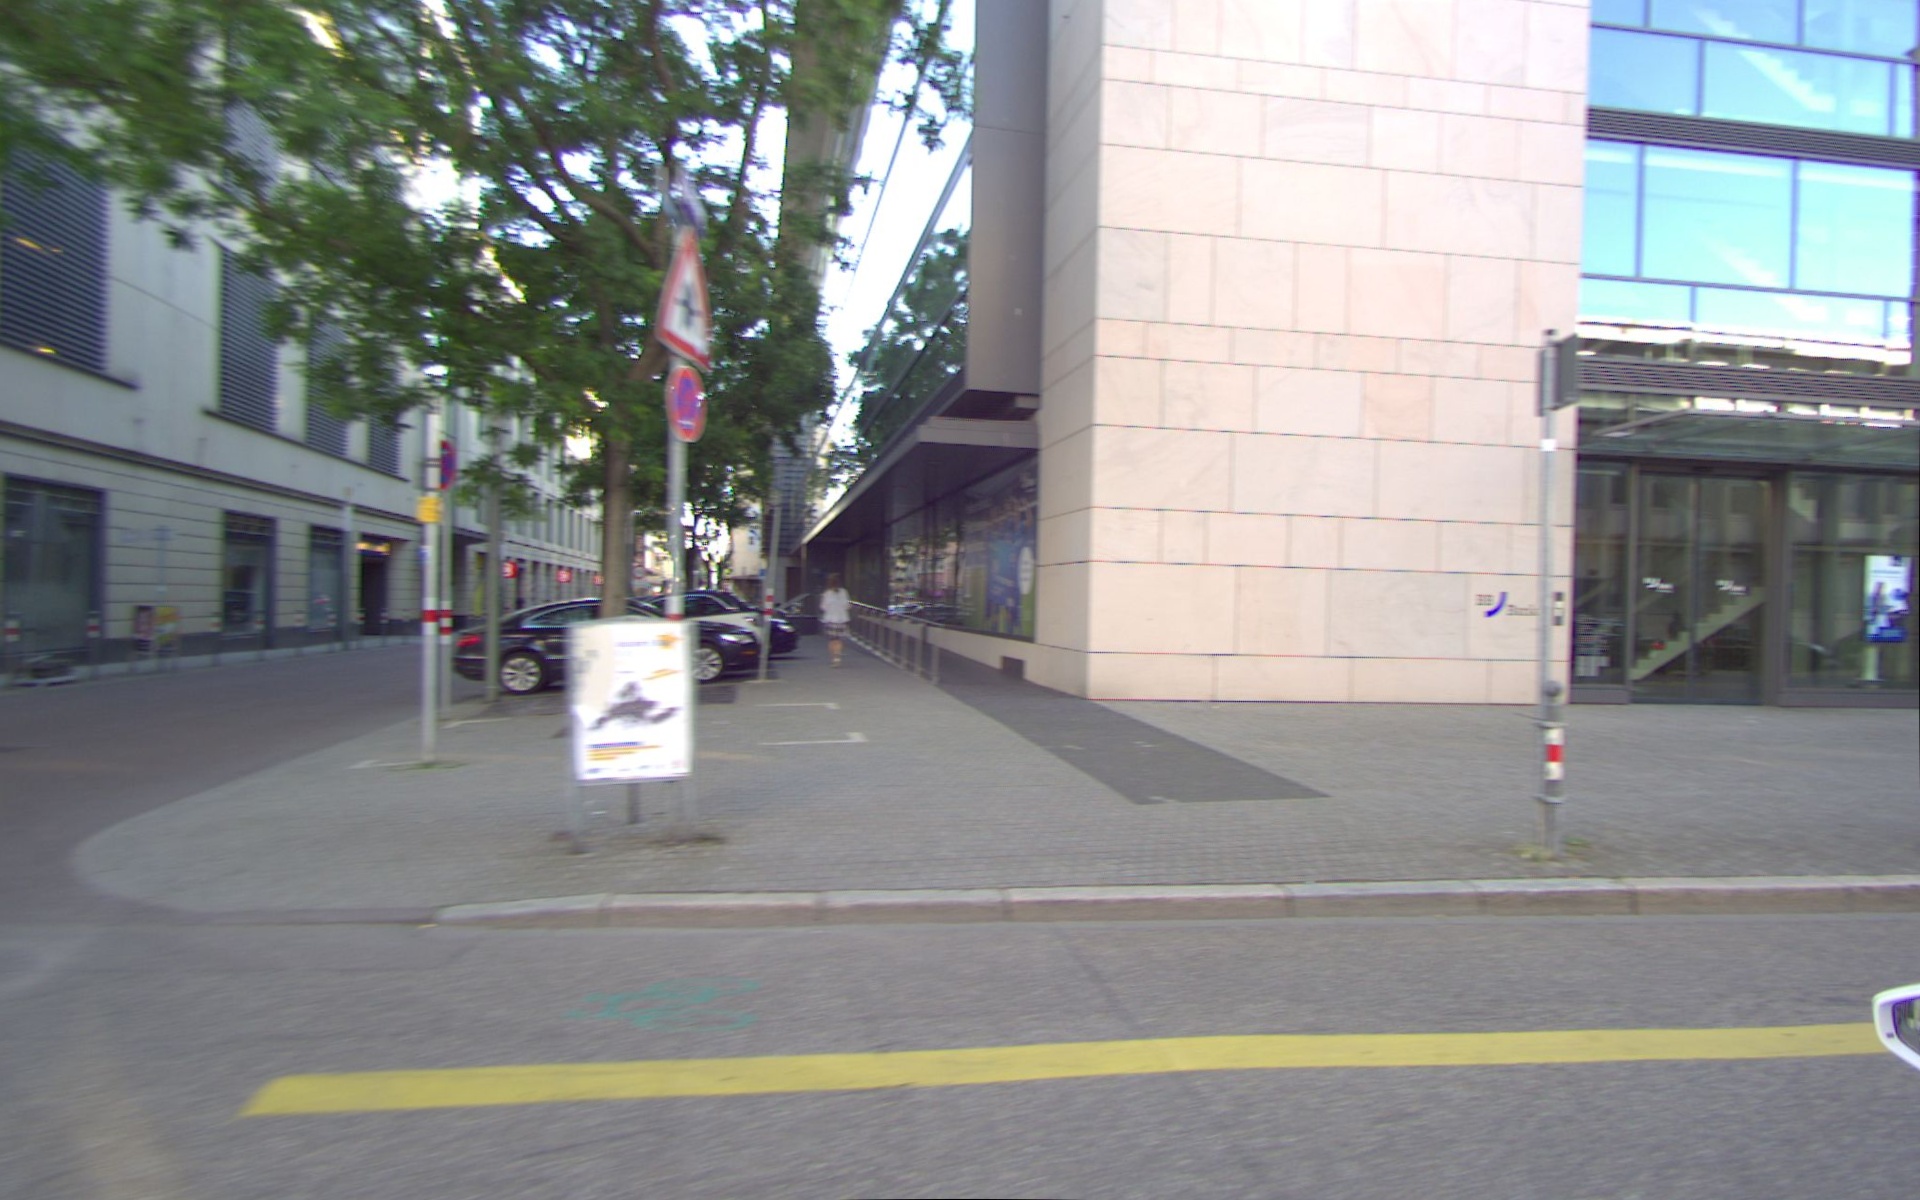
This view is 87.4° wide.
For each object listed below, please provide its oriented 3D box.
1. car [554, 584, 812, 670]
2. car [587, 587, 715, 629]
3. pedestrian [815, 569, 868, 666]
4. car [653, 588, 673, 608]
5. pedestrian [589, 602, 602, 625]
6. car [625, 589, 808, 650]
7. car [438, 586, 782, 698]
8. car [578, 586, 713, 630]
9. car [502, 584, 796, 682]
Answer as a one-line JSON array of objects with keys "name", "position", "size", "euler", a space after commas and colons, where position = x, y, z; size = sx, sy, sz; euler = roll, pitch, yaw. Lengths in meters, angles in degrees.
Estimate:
[{"name": "car", "position": [-5.735, 0.516, 21.188], "size": [4.936, 1.519, 1.994], "euler": [-2, 0, -15]}, {"name": "car", "position": [-12.838, 0.330, 42.055], "size": [4.936, 1.519, 1.994], "euler": [-2, 0, -15]}, {"name": "pedestrian", "position": [-2.192, 0.319, 18.525], "size": [0.892, 1.728, 0.833], "euler": [-1, 0, -11]}, {"name": "car", "position": [-36.769, -0.262, 124.443], "size": [1.967, 2.360, 5.005], "euler": [3, 0, -14]}, {"name": "pedestrian", "position": [-25.964, 0.950, 71.634], "size": [0.721, 1.595, 0.634], "euler": [2, -1, -12]}, {"name": "car", "position": [-7.023, 0.530, 29.205], "size": [4.936, 1.519, 1.994], "euler": [-2, 0, -15]}, {"name": "car", "position": [-5.505, 0.616, 16.386], "size": [4.936, 1.471, 1.994], "euler": [-2, 0, -15]}, {"name": "car", "position": [-12.344, 0.291, 39.792], "size": [4.936, 1.519, 1.994], "euler": [-2, 0, -15]}, {"name": "car", "position": [-5.683, 0.558, 18.835], "size": [4.936, 1.519, 1.994], "euler": [-2, 0, -15]}]
